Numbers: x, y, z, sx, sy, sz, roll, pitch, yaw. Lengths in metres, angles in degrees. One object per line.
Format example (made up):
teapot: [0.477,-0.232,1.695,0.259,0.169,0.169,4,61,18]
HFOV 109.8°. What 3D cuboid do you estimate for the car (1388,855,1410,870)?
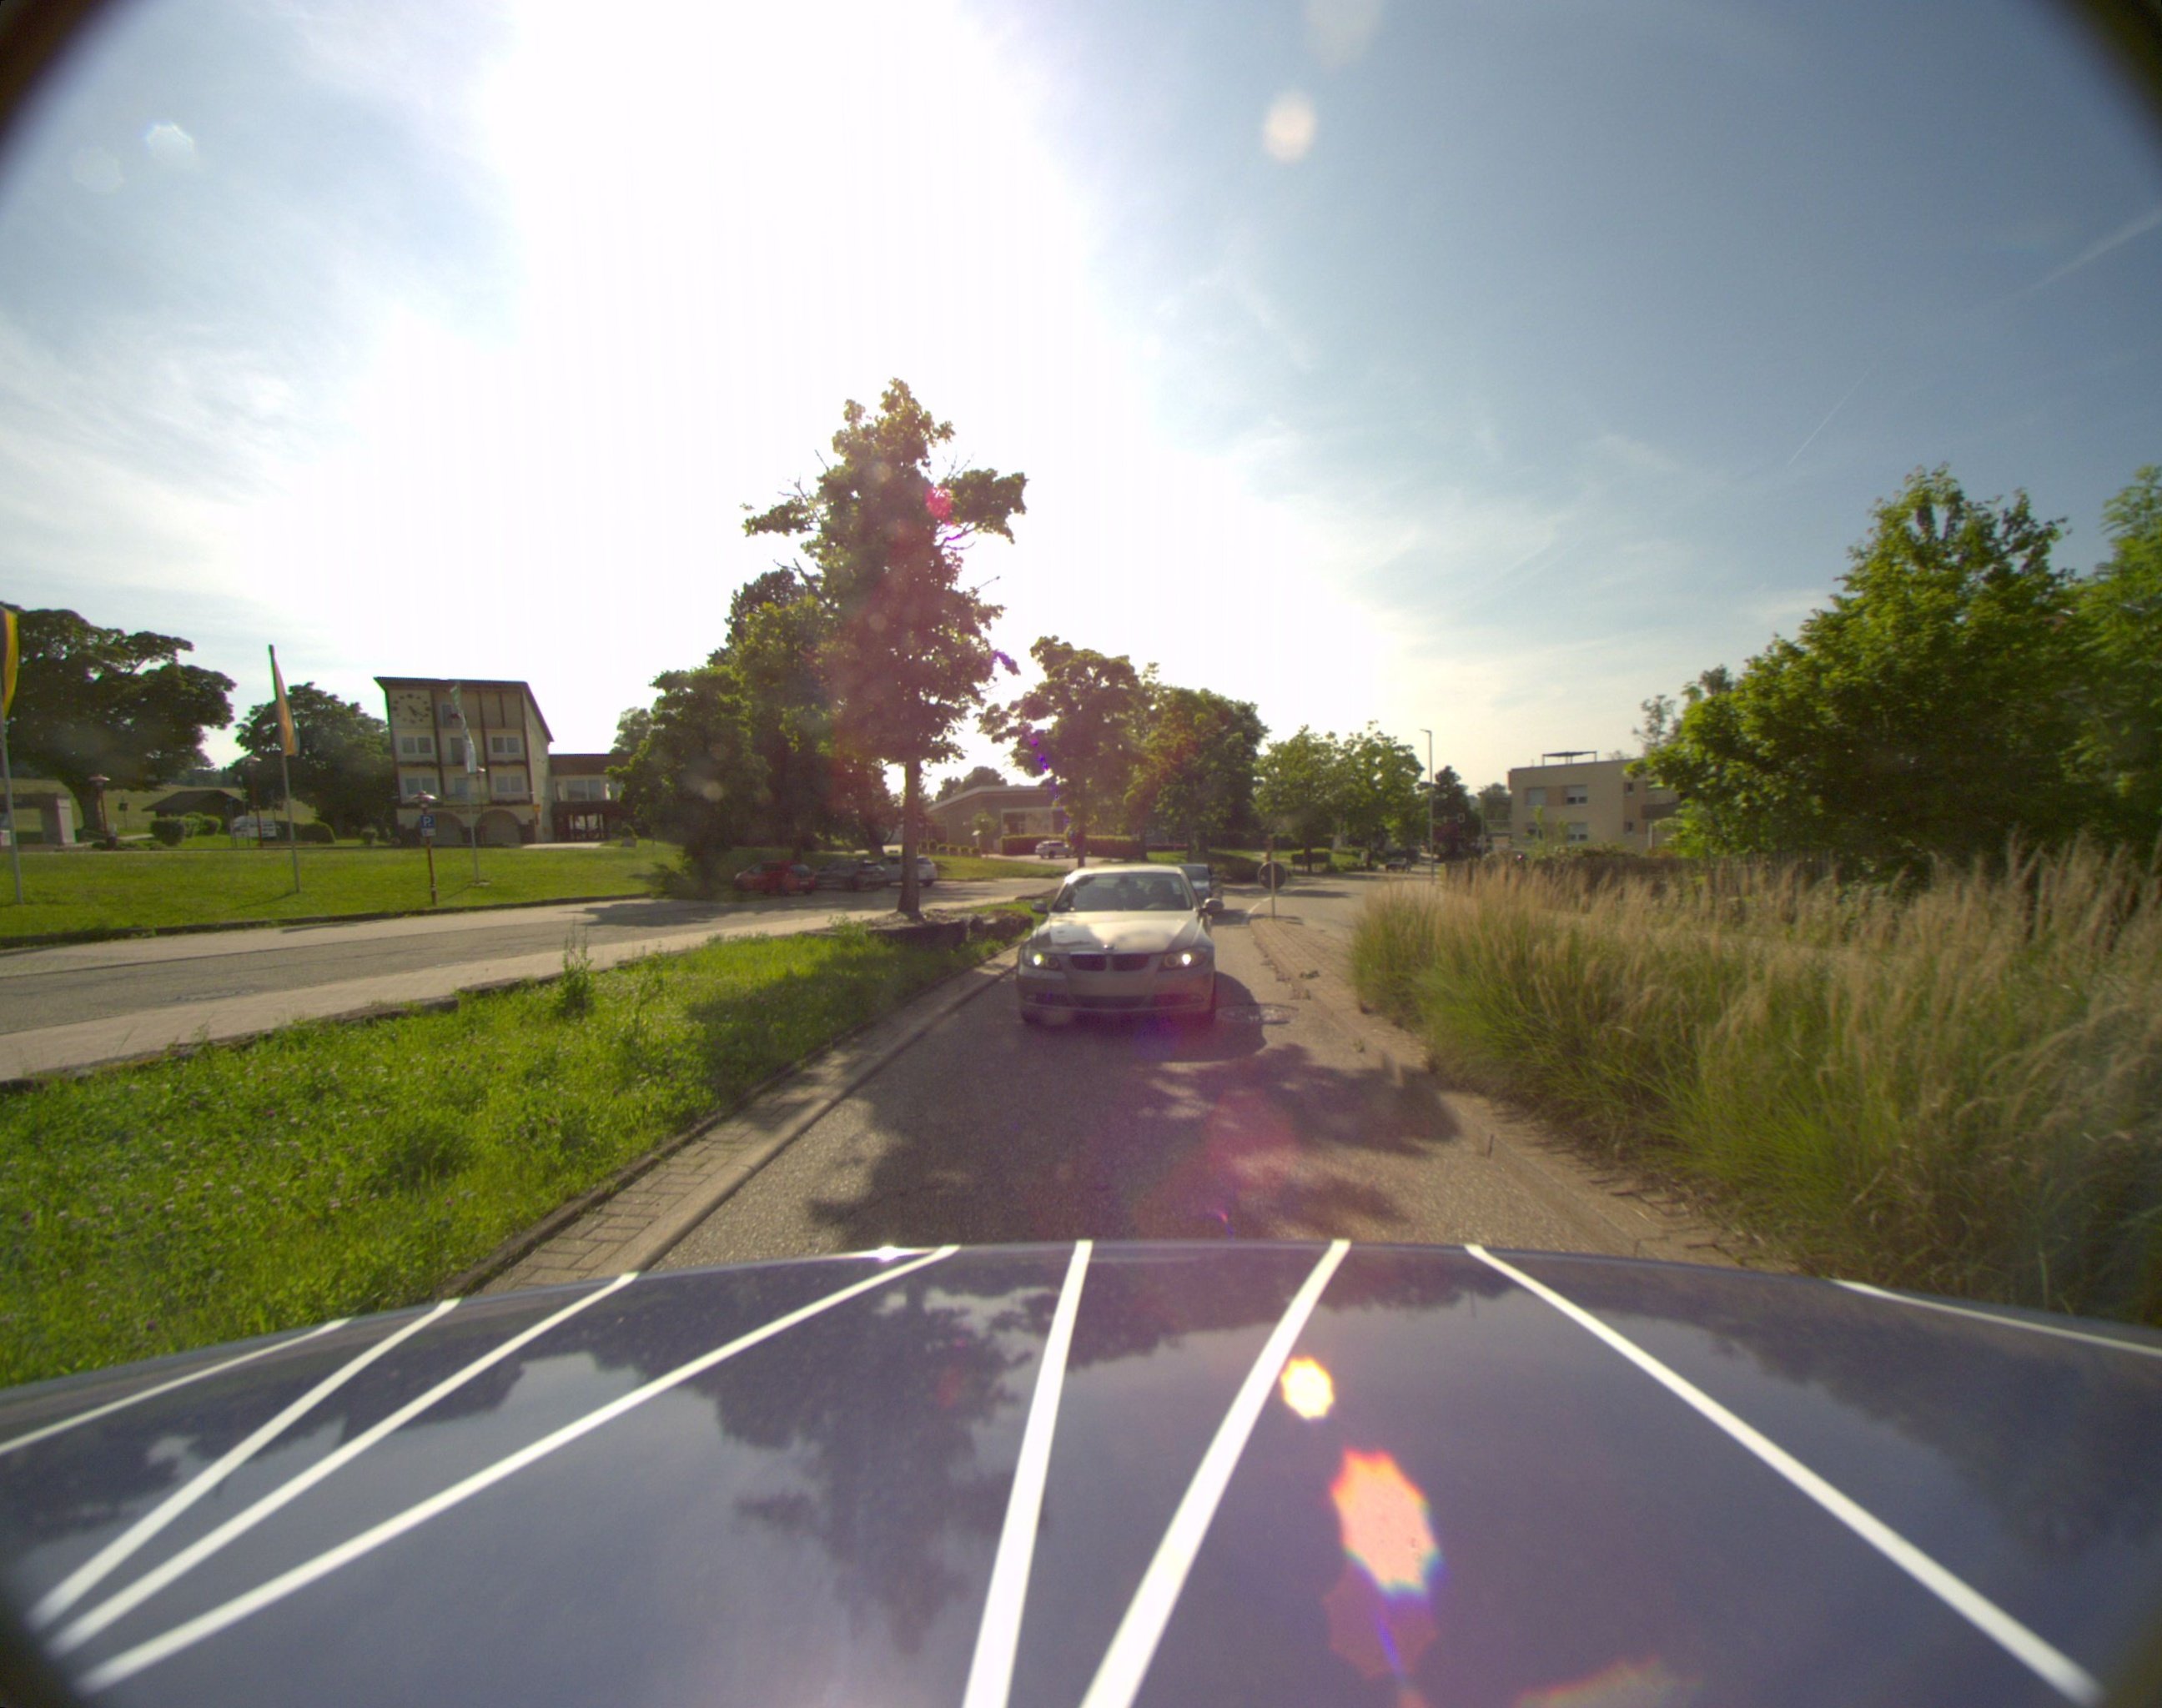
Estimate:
car: [29.611,0.772,70.646,1.475,1.357,2.808,2,1,30]

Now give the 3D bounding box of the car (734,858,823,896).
car: [-12.866,0.952,32.353,3.304,1.396,1.717,2,3,25]

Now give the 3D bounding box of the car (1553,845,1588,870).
car: [35.847,0.238,55.717,1.554,1.789,3.461,2,1,24]

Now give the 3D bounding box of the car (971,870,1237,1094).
car: [0.406,0.924,7.532,1.837,1.360,4.583,0,1,7]

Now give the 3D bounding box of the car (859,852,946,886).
car: [-9.178,0.729,39.055,3.988,1.609,2.004,2,1,30]

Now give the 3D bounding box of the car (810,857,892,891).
car: [-10.665,0.882,35.201,3.529,1.419,1.689,2,1,30]

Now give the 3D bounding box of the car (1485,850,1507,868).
car: [33.872,0.374,62.062,1.351,1.389,3.318,-1,1,26]

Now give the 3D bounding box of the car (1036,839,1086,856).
car: [-1.833,-0.598,70.958,4.377,1.506,1.789,1,1,-32]

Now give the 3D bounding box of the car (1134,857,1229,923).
car: [2.815,0.872,20.508,1.900,1.499,4.005,2,1,16]
